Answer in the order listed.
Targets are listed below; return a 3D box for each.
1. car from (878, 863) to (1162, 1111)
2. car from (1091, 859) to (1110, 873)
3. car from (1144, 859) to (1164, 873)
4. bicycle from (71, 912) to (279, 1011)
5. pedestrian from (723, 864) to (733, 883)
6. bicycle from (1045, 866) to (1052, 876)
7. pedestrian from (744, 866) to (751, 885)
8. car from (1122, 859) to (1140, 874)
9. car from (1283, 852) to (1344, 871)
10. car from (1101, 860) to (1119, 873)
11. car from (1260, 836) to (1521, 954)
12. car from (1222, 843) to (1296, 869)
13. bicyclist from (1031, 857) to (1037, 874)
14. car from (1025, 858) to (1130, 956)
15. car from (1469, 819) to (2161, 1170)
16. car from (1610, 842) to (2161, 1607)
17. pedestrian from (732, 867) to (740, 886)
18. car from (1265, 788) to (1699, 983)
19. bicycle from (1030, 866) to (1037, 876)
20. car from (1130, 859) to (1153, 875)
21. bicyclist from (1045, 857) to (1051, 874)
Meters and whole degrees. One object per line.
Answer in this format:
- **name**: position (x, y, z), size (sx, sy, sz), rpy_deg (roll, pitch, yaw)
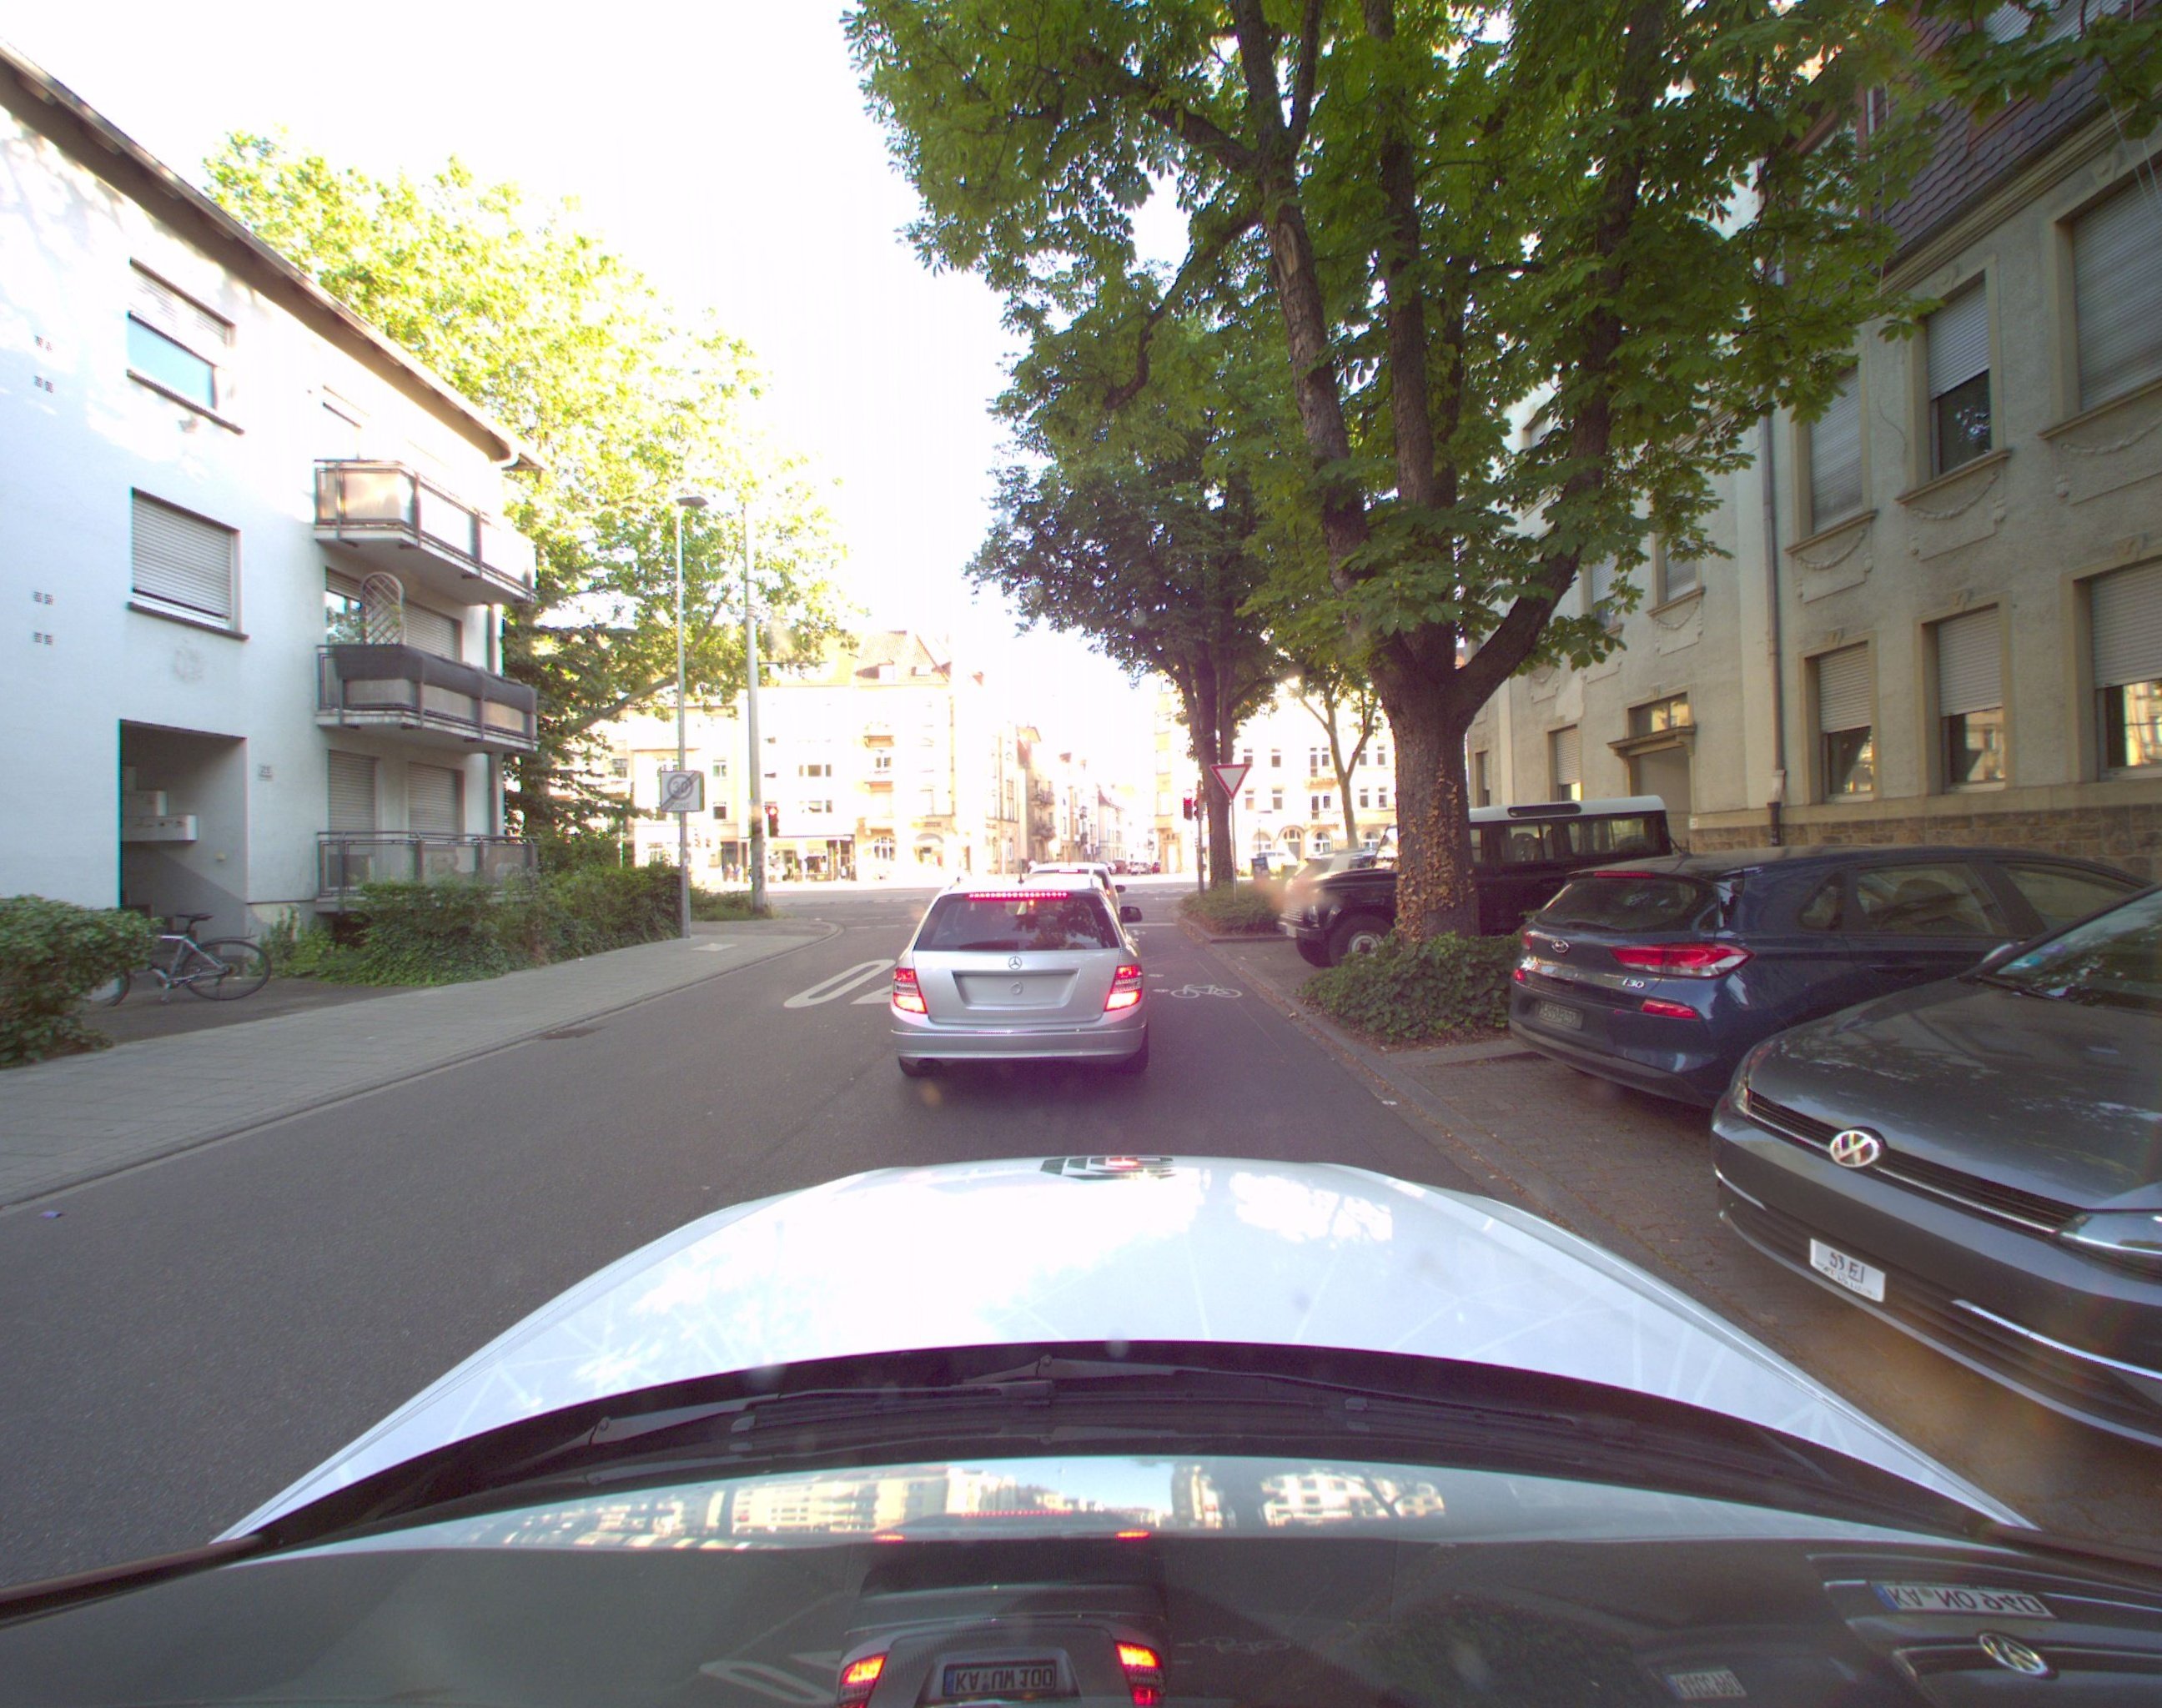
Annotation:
- **car**: position (-0.381, 0.806, 6.602), size (1.685, 1.429, 3.491), rpy_deg (0, 0, -1)
- **car**: position (2.519, 1.532, 102.540), size (1.639, 1.783, 3.876), rpy_deg (-1, -1, 13)
- **car**: position (9.182, 1.456, 102.050), size (1.709, 1.478, 4.016), rpy_deg (-6, -1, 14)
- **bicycle**: position (-10.011, 1.159, 9.069), size (1.469, 0.975, 0.402), rpy_deg (1, -2, -38)
- **pedestrian**: position (-27.627, 1.519, 63.739), size (0.566, 1.511, 0.499), rpy_deg (-1, 0, -17)
- **bicycle**: position (-2.944, 1.523, 73.474), size (0.567, 0.834, 1.565), rpy_deg (-2, 0, -1)
- **pedestrian**: position (-26.547, 1.728, 64.796), size (0.474, 1.511, 0.428), rpy_deg (-1, 0, -18)
- **car**: position (6.777, 1.707, 110.384), size (1.926, 1.958, 4.161), rpy_deg (-2, 0, 10)
- **car**: position (14.188, 0.461, 49.852), size (3.352, 1.069, 1.380), rpy_deg (-2, 0, 0)
- **car**: position (3.925, 1.672, 108.840), size (1.639, 1.604, 3.876), rpy_deg (-1, -1, 13)
- **car**: position (4.857, 0.612, 13.057), size (3.475, 1.586, 1.708), rpy_deg (-3, 0, -5)
- **car**: position (11.251, 0.106, 51.606), size (4.271, 1.461, 1.787), rpy_deg (-2, 1, 0)
- **bicyclist**: position (-4.282, 1.031, 73.638), size (0.465, 1.514, 0.655), rpy_deg (-2, 0, -2)
- **car**: position (-0.045, 0.795, 13.824), size (1.528, 1.391, 3.599), rpy_deg (-1, 0, 0)
- **car**: position (4.436, 0.609, 4.519), size (3.739, 1.422, 1.627), rpy_deg (-3, -1, -2)
- **car**: position (4.080, 0.658, 2.334), size (4.037, 1.422, 1.627), rpy_deg (-3, -1, -2)
- **pedestrian**: position (-27.642, 1.767, 65.296), size (0.511, 1.511, 0.532), rpy_deg (-1, 0, -26)
- **car**: position (4.786, 0.353, 10.182), size (4.478, 1.956, 1.792), rpy_deg (-3, 0, -1)
- **bicycle**: position (-4.273, 1.563, 73.563), size (0.567, 0.834, 1.565), rpy_deg (-2, 0, -1)
- **car**: position (6.416, 1.317, 85.908), size (1.708, 1.478, 4.016), rpy_deg (-3, 0, 14)
- **bicyclist**: position (-2.963, 1.005, 73.627), size (0.465, 1.521, 0.693), rpy_deg (-2, 0, -2)
